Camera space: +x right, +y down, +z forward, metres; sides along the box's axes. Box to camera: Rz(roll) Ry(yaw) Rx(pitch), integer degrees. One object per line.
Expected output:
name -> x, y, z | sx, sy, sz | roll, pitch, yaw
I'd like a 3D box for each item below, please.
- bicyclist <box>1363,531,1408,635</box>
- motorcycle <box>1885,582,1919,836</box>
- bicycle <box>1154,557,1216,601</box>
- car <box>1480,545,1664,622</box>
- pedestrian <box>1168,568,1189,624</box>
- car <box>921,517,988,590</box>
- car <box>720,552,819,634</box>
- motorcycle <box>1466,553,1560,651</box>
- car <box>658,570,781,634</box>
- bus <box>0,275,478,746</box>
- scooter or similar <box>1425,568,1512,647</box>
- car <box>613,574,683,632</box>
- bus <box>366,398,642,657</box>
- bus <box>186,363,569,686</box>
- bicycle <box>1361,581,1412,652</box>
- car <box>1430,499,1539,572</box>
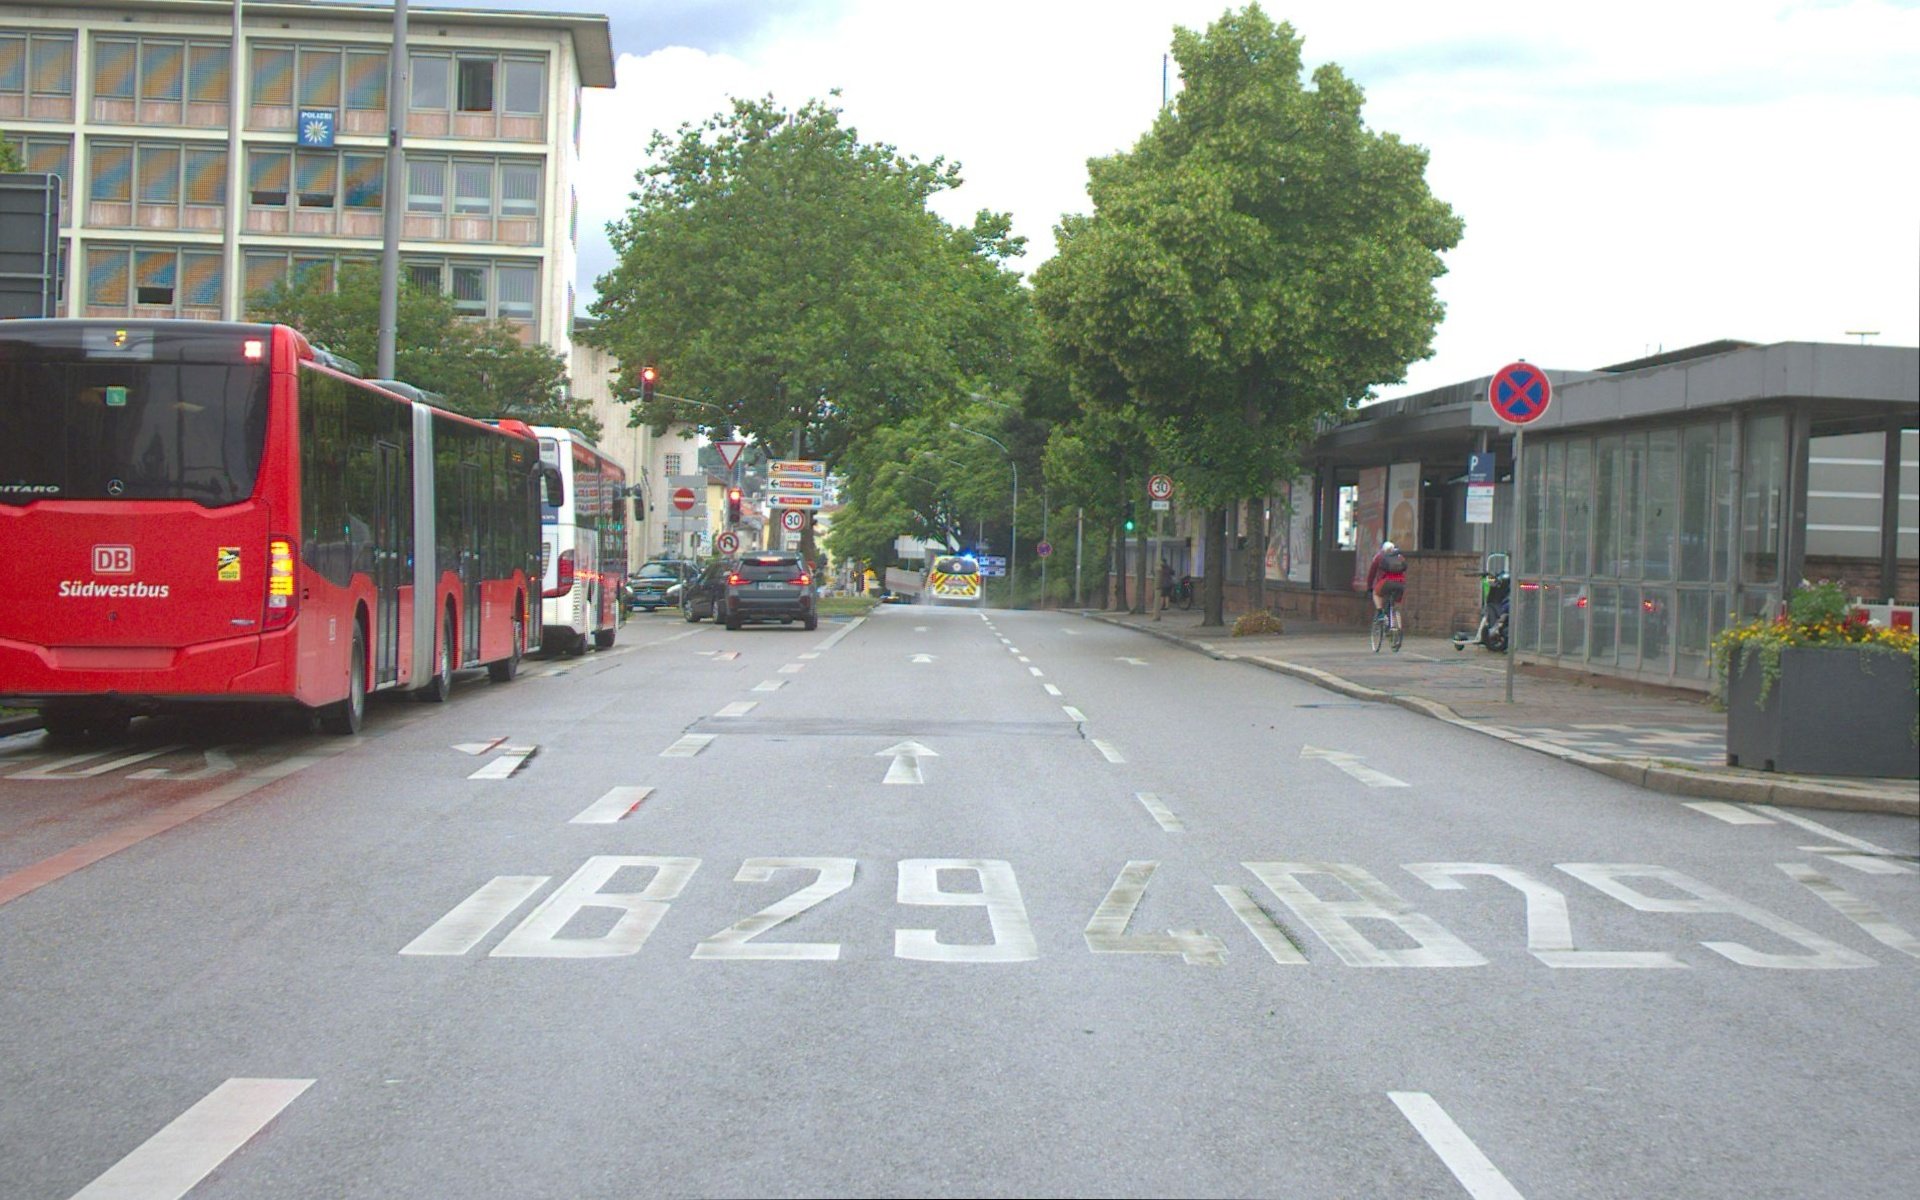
bicyclist -> 6.341, -0.258, 51.224 | 0.533, 1.533, 0.694 | -1, 0, -3
motorcycle -> 5.438, 0.594, 17.911 | 0.643, 1.347, 2.109 | 1, 1, 0
bicycle -> 6.376, -0.598, 97.413 | 1.723, 1.244, 0.485 | 0, 1, 31
car -> 12.552, -0.352, 70.694 | 3.558, 1.537, 1.746 | 0, 1, 4
pedestrian -> 6.174, -0.115, 97.017 | 0.457, 1.563, 0.392 | 0, 1, 31
car -> -0.227, -1.760, 128.440 | 2.264, 2.647, 4.001 | 1, 1, -3
car -> -3.901, -0.163, 70.949 | 1.964, 1.634, 4.359 | 0, 1, -2
motorcycle -> 7.844, 0.006, 48.824 | 0.791, 1.343, 2.457 | 1, 1, -3
car -> -5.486, 0.027, 77.905 | 1.815, 1.404, 4.415 | 0, 1, -17
bus -> -6.055, -0.714, 28.819 | 2.809, 3.234, 9.914 | 1, 1, -1
scooter or similar -> 7.541, 0.098, 51.010 | 0.492, 1.149, 1.716 | 1, 0, -21
car -> -8.890, 0.073, 97.685 | 1.881, 1.505, 3.722 | 2, 0, -6
bus -> -6.680, -1.064, 52.296 | 2.955, 3.427, 12.560 | 1, 1, -2
bus -> -6.218, -0.819, 38.146 | 2.752, 3.121, 8.843 | 1, 1, 0
bicycle -> 6.347, 0.240, 51.212 | 0.446, 1.013, 1.678 | -2, 1, -3
car -> 13.931, -1.690, 91.513 | 1.993, 1.865, 4.598 | 1, 0, -2
